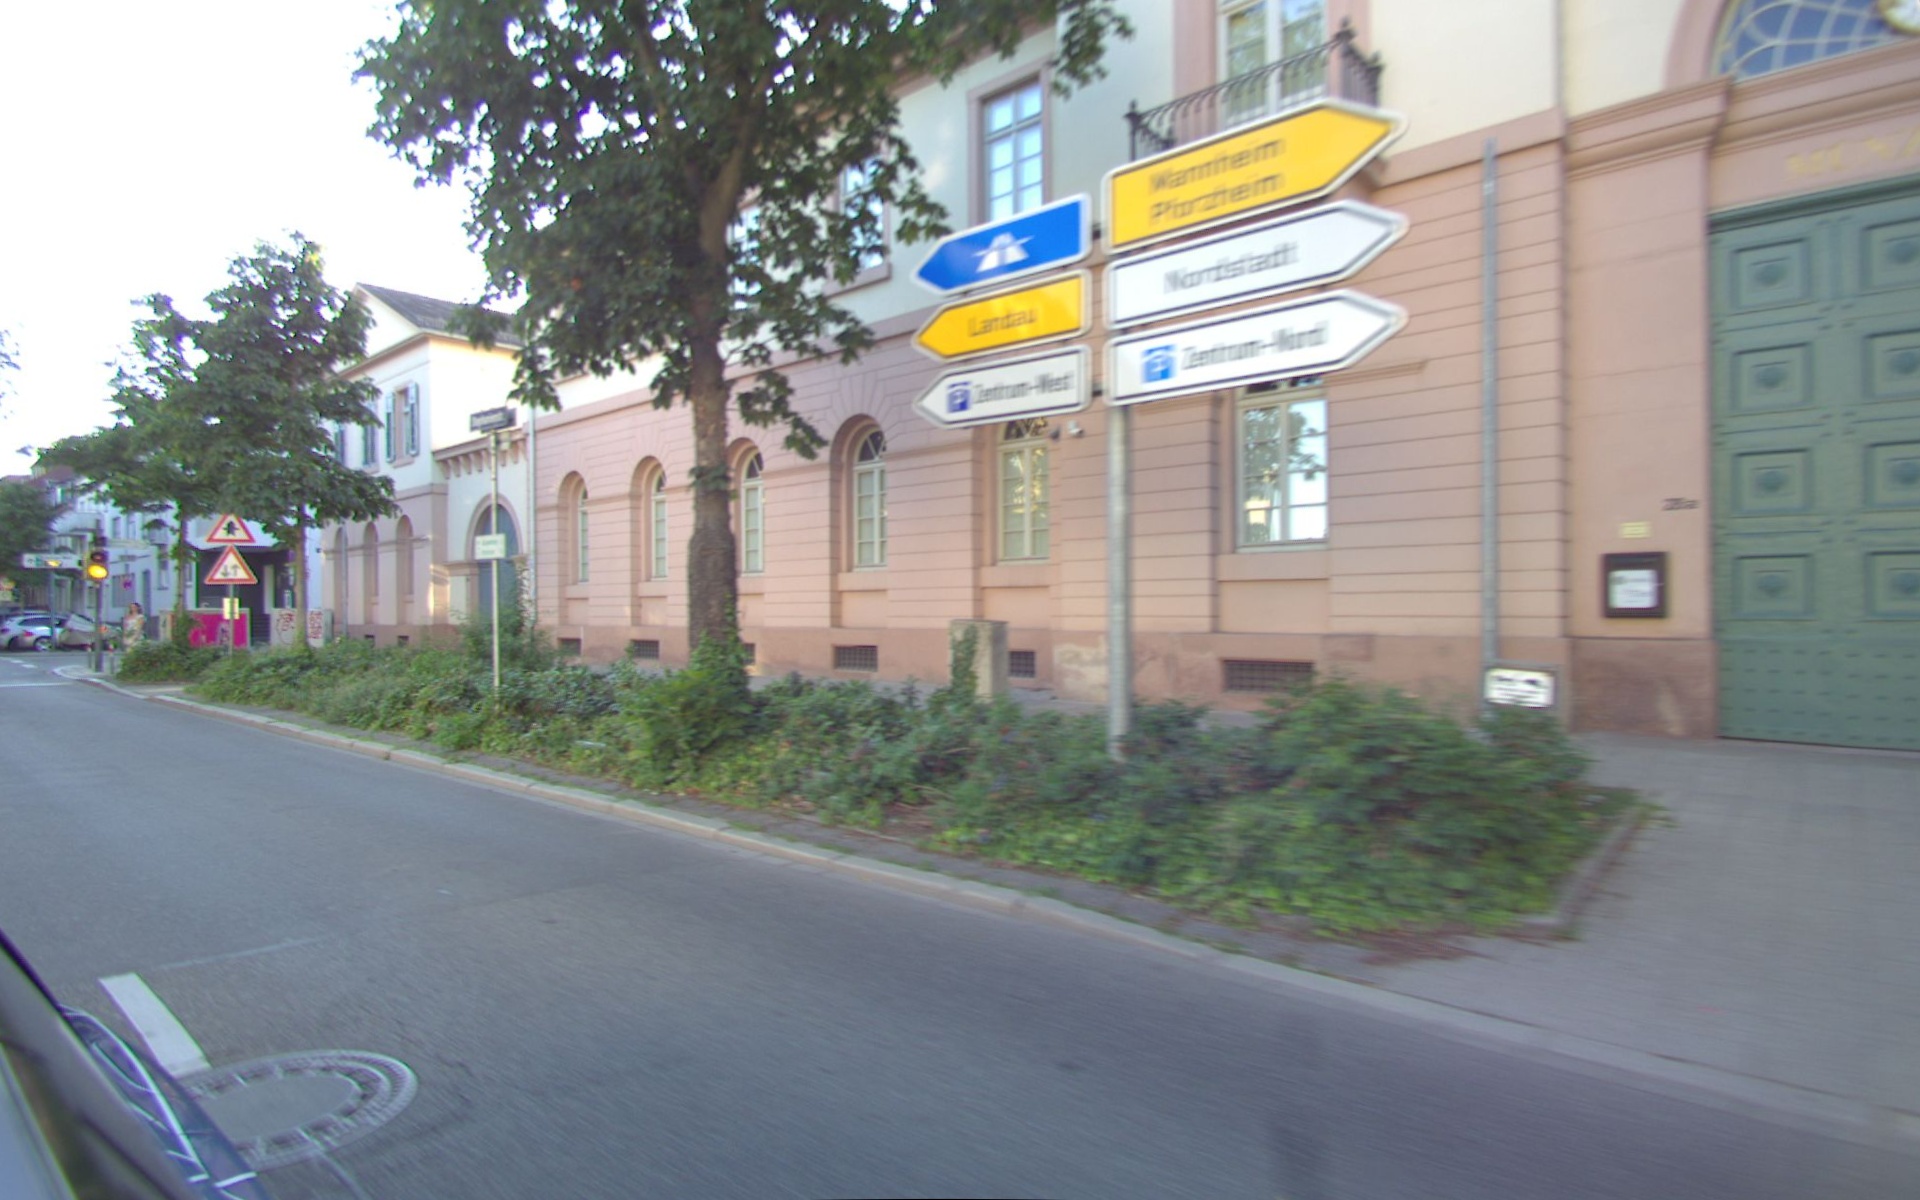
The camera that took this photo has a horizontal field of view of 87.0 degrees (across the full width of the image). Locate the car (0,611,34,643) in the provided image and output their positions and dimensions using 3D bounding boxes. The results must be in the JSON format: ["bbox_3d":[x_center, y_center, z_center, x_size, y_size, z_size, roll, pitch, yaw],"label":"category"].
[{"bbox_3d":[-61.962,1.751,63.901,2.187,2.006,4.941,-2,-1,39],"label":"car"}]

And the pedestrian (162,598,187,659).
[{"bbox_3d":[-24.294,0.863,31.305,0.546,1.864,0.613,0,-1,-34],"label":"pedestrian"}]

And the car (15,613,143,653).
[{"bbox_3d":[-34.874,1.274,40.112,3.697,1.321,1.845,-3,1,-45],"label":"car"}]

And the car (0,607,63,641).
[{"bbox_3d":[-52.053,1.329,55.064,2.155,1.778,4.617,-1,0,41],"label":"car"}]

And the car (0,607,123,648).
[{"bbox_3d":[-37.035,1.098,41.673,1.734,1.469,3.703,-1,1,40],"label":"car"}]

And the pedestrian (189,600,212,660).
[{"bbox_3d":[-23.795,0.940,31.696,0.546,1.864,0.613,0,-1,-35],"label":"pedestrian"}]

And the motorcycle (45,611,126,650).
[{"bbox_3d":[-32.837,1.126,38.053,2.118,1.430,0.971,0,-1,-27],"label":"motorcycle"}]

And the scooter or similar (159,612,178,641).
[{"bbox_3d":[-35.679,1.166,45.592,0.509,1.271,1.421,-1,1,-44],"label":"scooter or similar"}]

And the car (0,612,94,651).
[{"bbox_3d":[-42.051,1.417,45.878,1.936,1.644,4.049,-1,0,42],"label":"car"}]

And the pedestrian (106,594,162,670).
[{"bbox_3d":[-20.537,0.782,25.175,0.779,1.804,0.773,-3,1,-21],"label":"pedestrian"}]

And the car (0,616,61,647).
[{"bbox_3d":[-50.248,1.675,53.460,1.781,1.505,3.983,-1,1,45],"label":"car"}]

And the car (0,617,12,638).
[{"bbox_3d":[-70.629,2.052,72.004,1.716,1.417,4.383,0,2,38],"label":"car"}]

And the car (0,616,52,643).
[{"bbox_3d":[-53.854,1.698,56.998,1.854,1.462,3.805,-3,-1,41],"label":"car"}]
